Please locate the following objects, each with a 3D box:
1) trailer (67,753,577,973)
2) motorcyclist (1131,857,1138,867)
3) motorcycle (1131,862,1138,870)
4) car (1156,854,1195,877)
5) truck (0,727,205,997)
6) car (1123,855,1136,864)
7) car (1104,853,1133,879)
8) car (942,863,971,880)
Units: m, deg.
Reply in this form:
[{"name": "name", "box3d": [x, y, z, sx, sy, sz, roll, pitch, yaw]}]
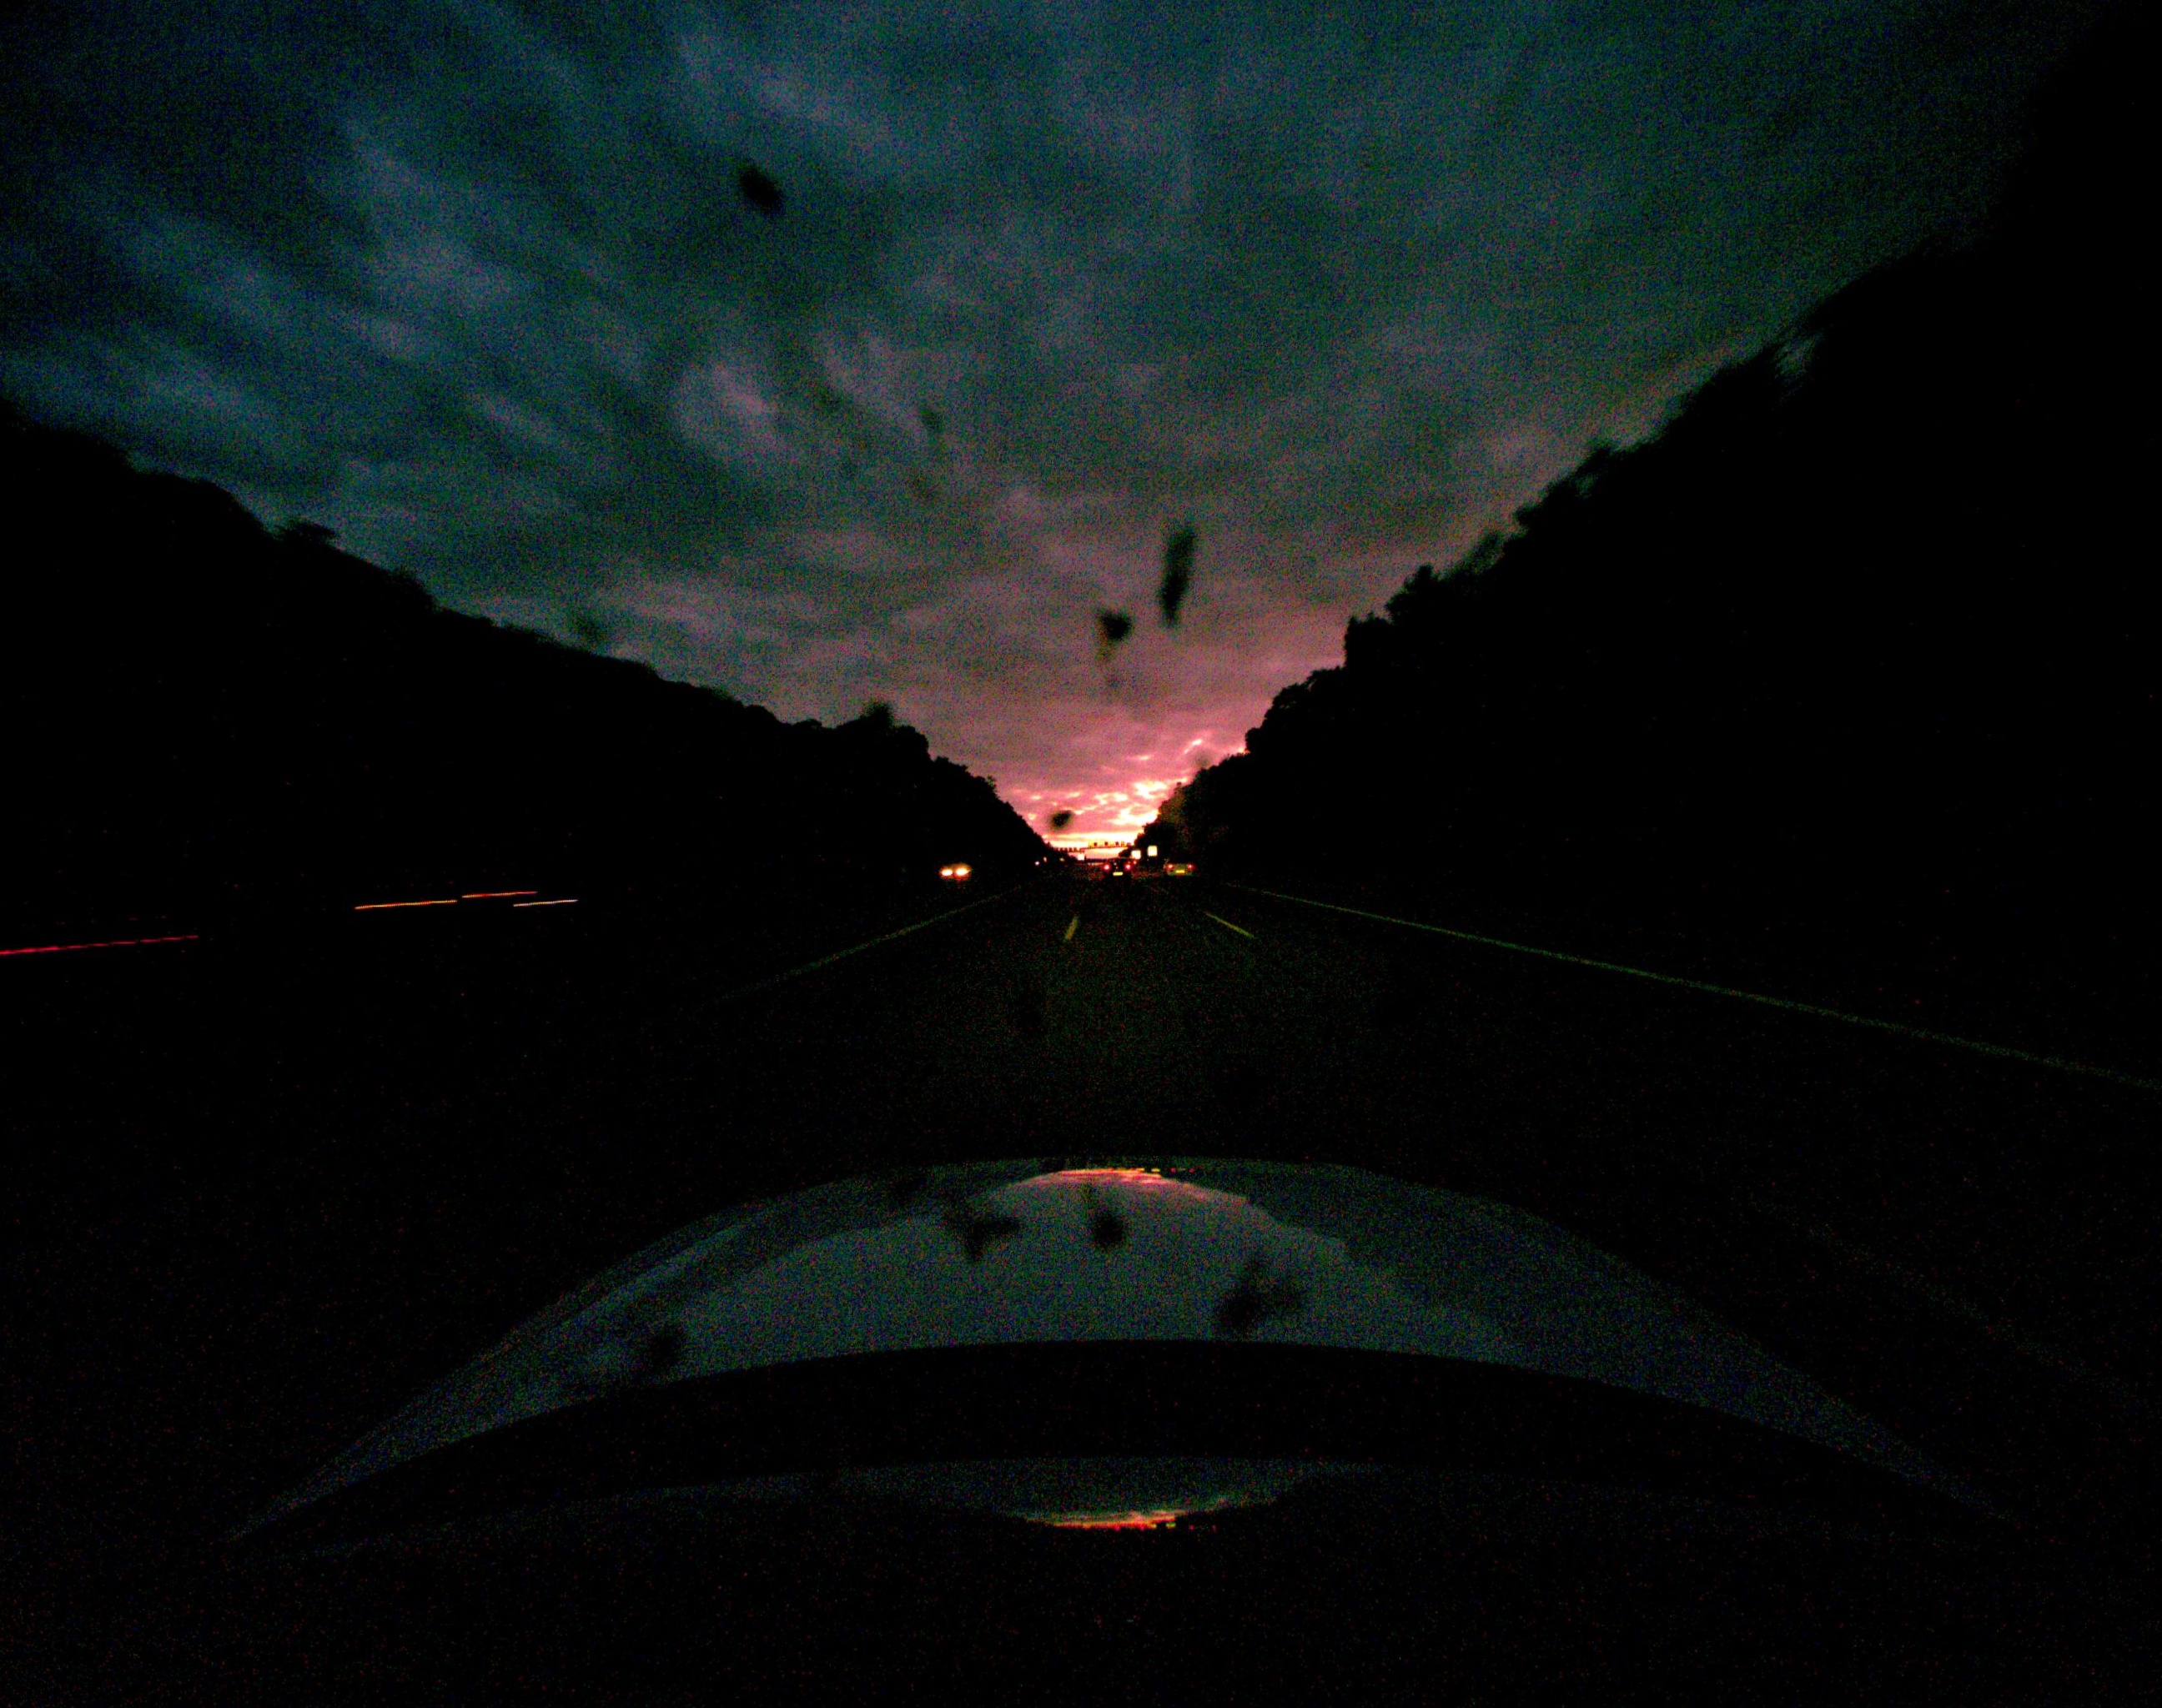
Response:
[{"name": "trailer", "box3d": [-16.962, 0.194, 19.893, 2.637, 3.930, 10.189, -1, -1, 2]}, {"name": "motorcyclist", "box3d": [7.187, 1.054, 109.188, 0.827, 1.292, 1.190, -2, -1, 1]}, {"name": "motorcycle", "box3d": [7.206, 1.625, 109.241, 0.827, 1.134, 2.476, -2, -1, 1]}, {"name": "car", "box3d": [6.158, 0.787, 53.298, 1.821, 1.476, 4.393, 0, -2, -3]}, {"name": "truck", "box3d": [-17.231, 0.131, 11.145, 2.637, 3.972, 7.123, -1, -1, 1]}, {"name": "car", "box3d": [8.660, 0.999, 145.990, 1.861, 1.494, 4.393, 0, -2, -3]}, {"name": "car", "box3d": [2.248, 0.780, 49.723, 1.697, 1.509, 4.233, 0, -2, 2]}, {"name": "car", "box3d": [-11.949, 1.661, 78.459, 1.874, 1.575, 4.655, -2, 0, 1]}]
